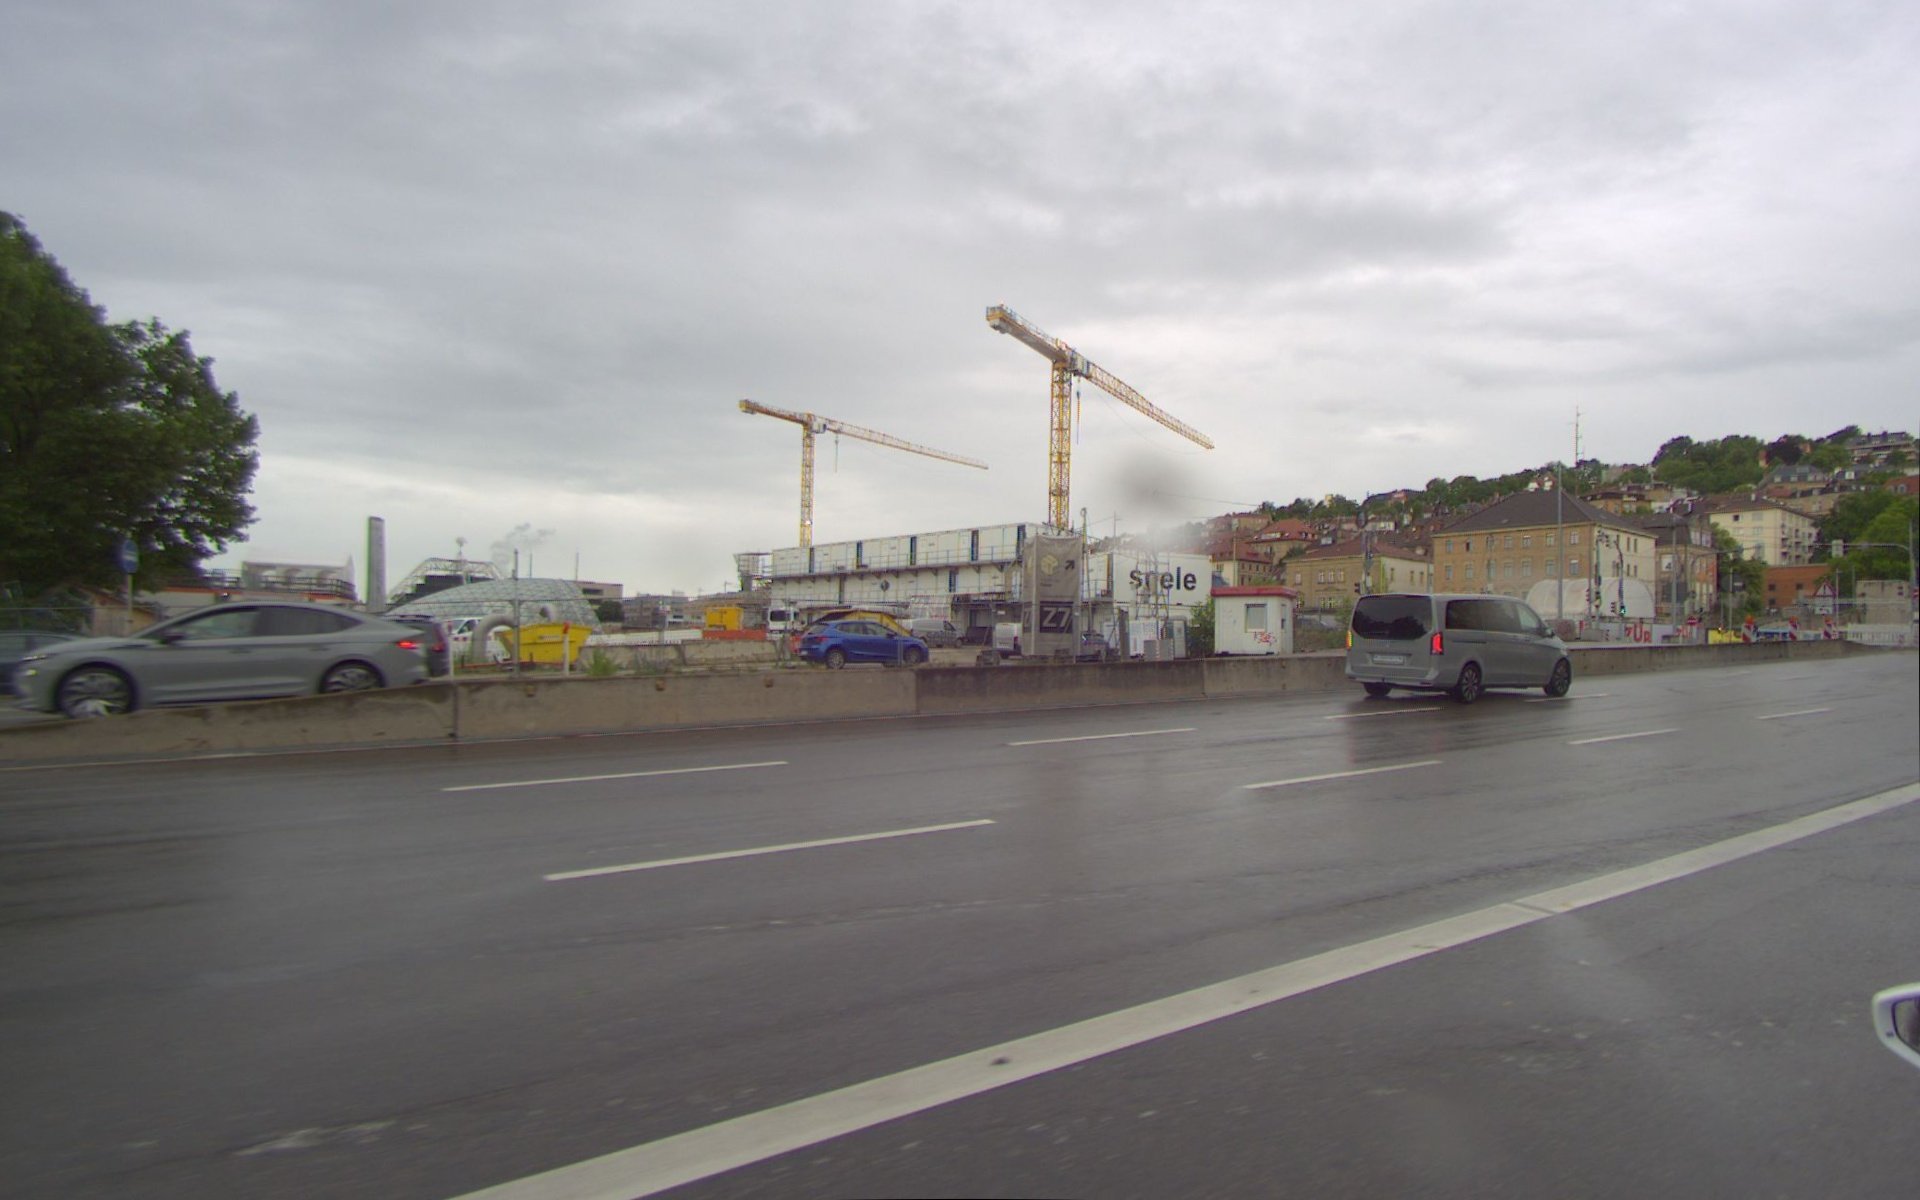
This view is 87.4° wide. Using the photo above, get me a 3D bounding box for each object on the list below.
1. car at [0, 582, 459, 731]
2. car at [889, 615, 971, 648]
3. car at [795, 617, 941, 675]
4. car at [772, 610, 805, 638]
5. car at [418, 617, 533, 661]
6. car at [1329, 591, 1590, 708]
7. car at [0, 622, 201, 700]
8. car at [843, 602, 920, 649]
[{"bbox_3d":[-10.171,0.868,14.167,5.248,1.778,1.980,5,-4,-36],"label":"car"},{"bbox_3d":[-1.862,2.003,64.046,5.276,2.040,1.975,2,-2,-43],"label":"car"},{"bbox_3d":[-2.767,1.368,30.364,3.954,1.643,1.984,1,-2,-31],"label":"car"},{"bbox_3d":[-13.119,1.866,77.038,1.962,2.051,5.310,1,-2,-5],"label":"car"},{"bbox_3d":[-25.909,2.106,53.939,2.087,2.258,5.345,0,-2,26],"label":"car"},{"bbox_3d":[9.313,0.938,18.544,5.304,1.880,1.981,4,-2,-35],"label":"car"},{"bbox_3d":[-19.076,1.293,21.637,4.129,1.586,1.752,2,-2,-32],"label":"car"},{"bbox_3d":[-5.249,1.754,67.827,1.970,2.866,5.289,-1,-5,40],"label":"car"}]
